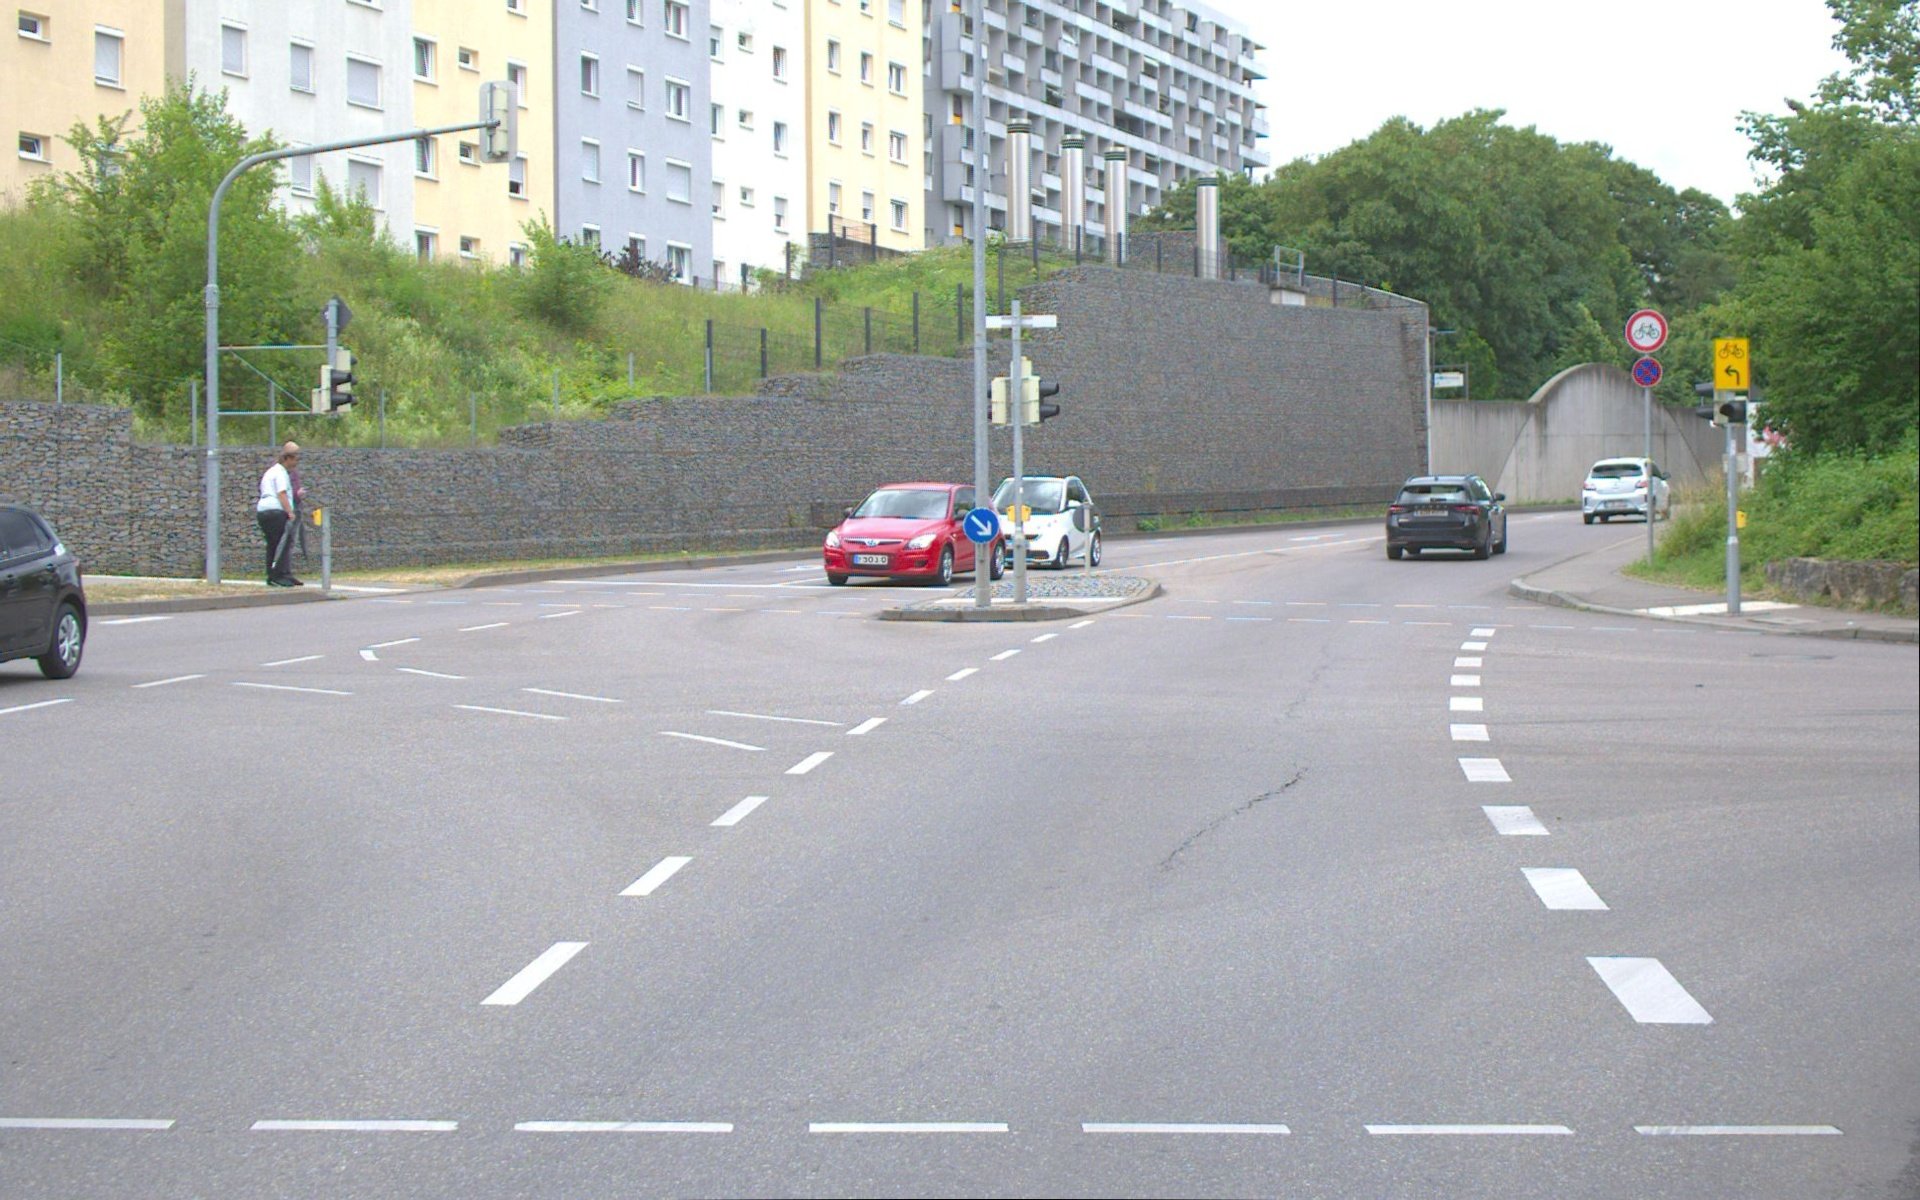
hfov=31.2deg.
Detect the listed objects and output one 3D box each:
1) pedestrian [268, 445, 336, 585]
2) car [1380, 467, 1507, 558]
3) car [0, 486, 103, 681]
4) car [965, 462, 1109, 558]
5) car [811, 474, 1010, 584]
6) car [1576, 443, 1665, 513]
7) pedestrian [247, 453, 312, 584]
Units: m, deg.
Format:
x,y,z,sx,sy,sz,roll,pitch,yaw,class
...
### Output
x,y,z,sx,sy,sz,roll,pitch,yaw,class
-8.646,-1.120,45.195,0.622,1.821,0.665,1,1,16,pedestrian
8.561,-1.532,60.634,1.755,1.518,4.034,1,1,14,car
-8.147,-0.136,26.373,1.754,1.450,4.067,1,2,6,car
1.302,-1.487,56.854,1.545,1.518,2.911,2,1,19,car
-0.682,-1.046,50.531,1.756,1.518,4.090,2,1,17,car
15.374,-2.819,79.934,1.755,1.518,4.034,1,1,14,car
-8.796,-1.053,44.453,0.622,1.673,0.665,1,1,6,pedestrian
